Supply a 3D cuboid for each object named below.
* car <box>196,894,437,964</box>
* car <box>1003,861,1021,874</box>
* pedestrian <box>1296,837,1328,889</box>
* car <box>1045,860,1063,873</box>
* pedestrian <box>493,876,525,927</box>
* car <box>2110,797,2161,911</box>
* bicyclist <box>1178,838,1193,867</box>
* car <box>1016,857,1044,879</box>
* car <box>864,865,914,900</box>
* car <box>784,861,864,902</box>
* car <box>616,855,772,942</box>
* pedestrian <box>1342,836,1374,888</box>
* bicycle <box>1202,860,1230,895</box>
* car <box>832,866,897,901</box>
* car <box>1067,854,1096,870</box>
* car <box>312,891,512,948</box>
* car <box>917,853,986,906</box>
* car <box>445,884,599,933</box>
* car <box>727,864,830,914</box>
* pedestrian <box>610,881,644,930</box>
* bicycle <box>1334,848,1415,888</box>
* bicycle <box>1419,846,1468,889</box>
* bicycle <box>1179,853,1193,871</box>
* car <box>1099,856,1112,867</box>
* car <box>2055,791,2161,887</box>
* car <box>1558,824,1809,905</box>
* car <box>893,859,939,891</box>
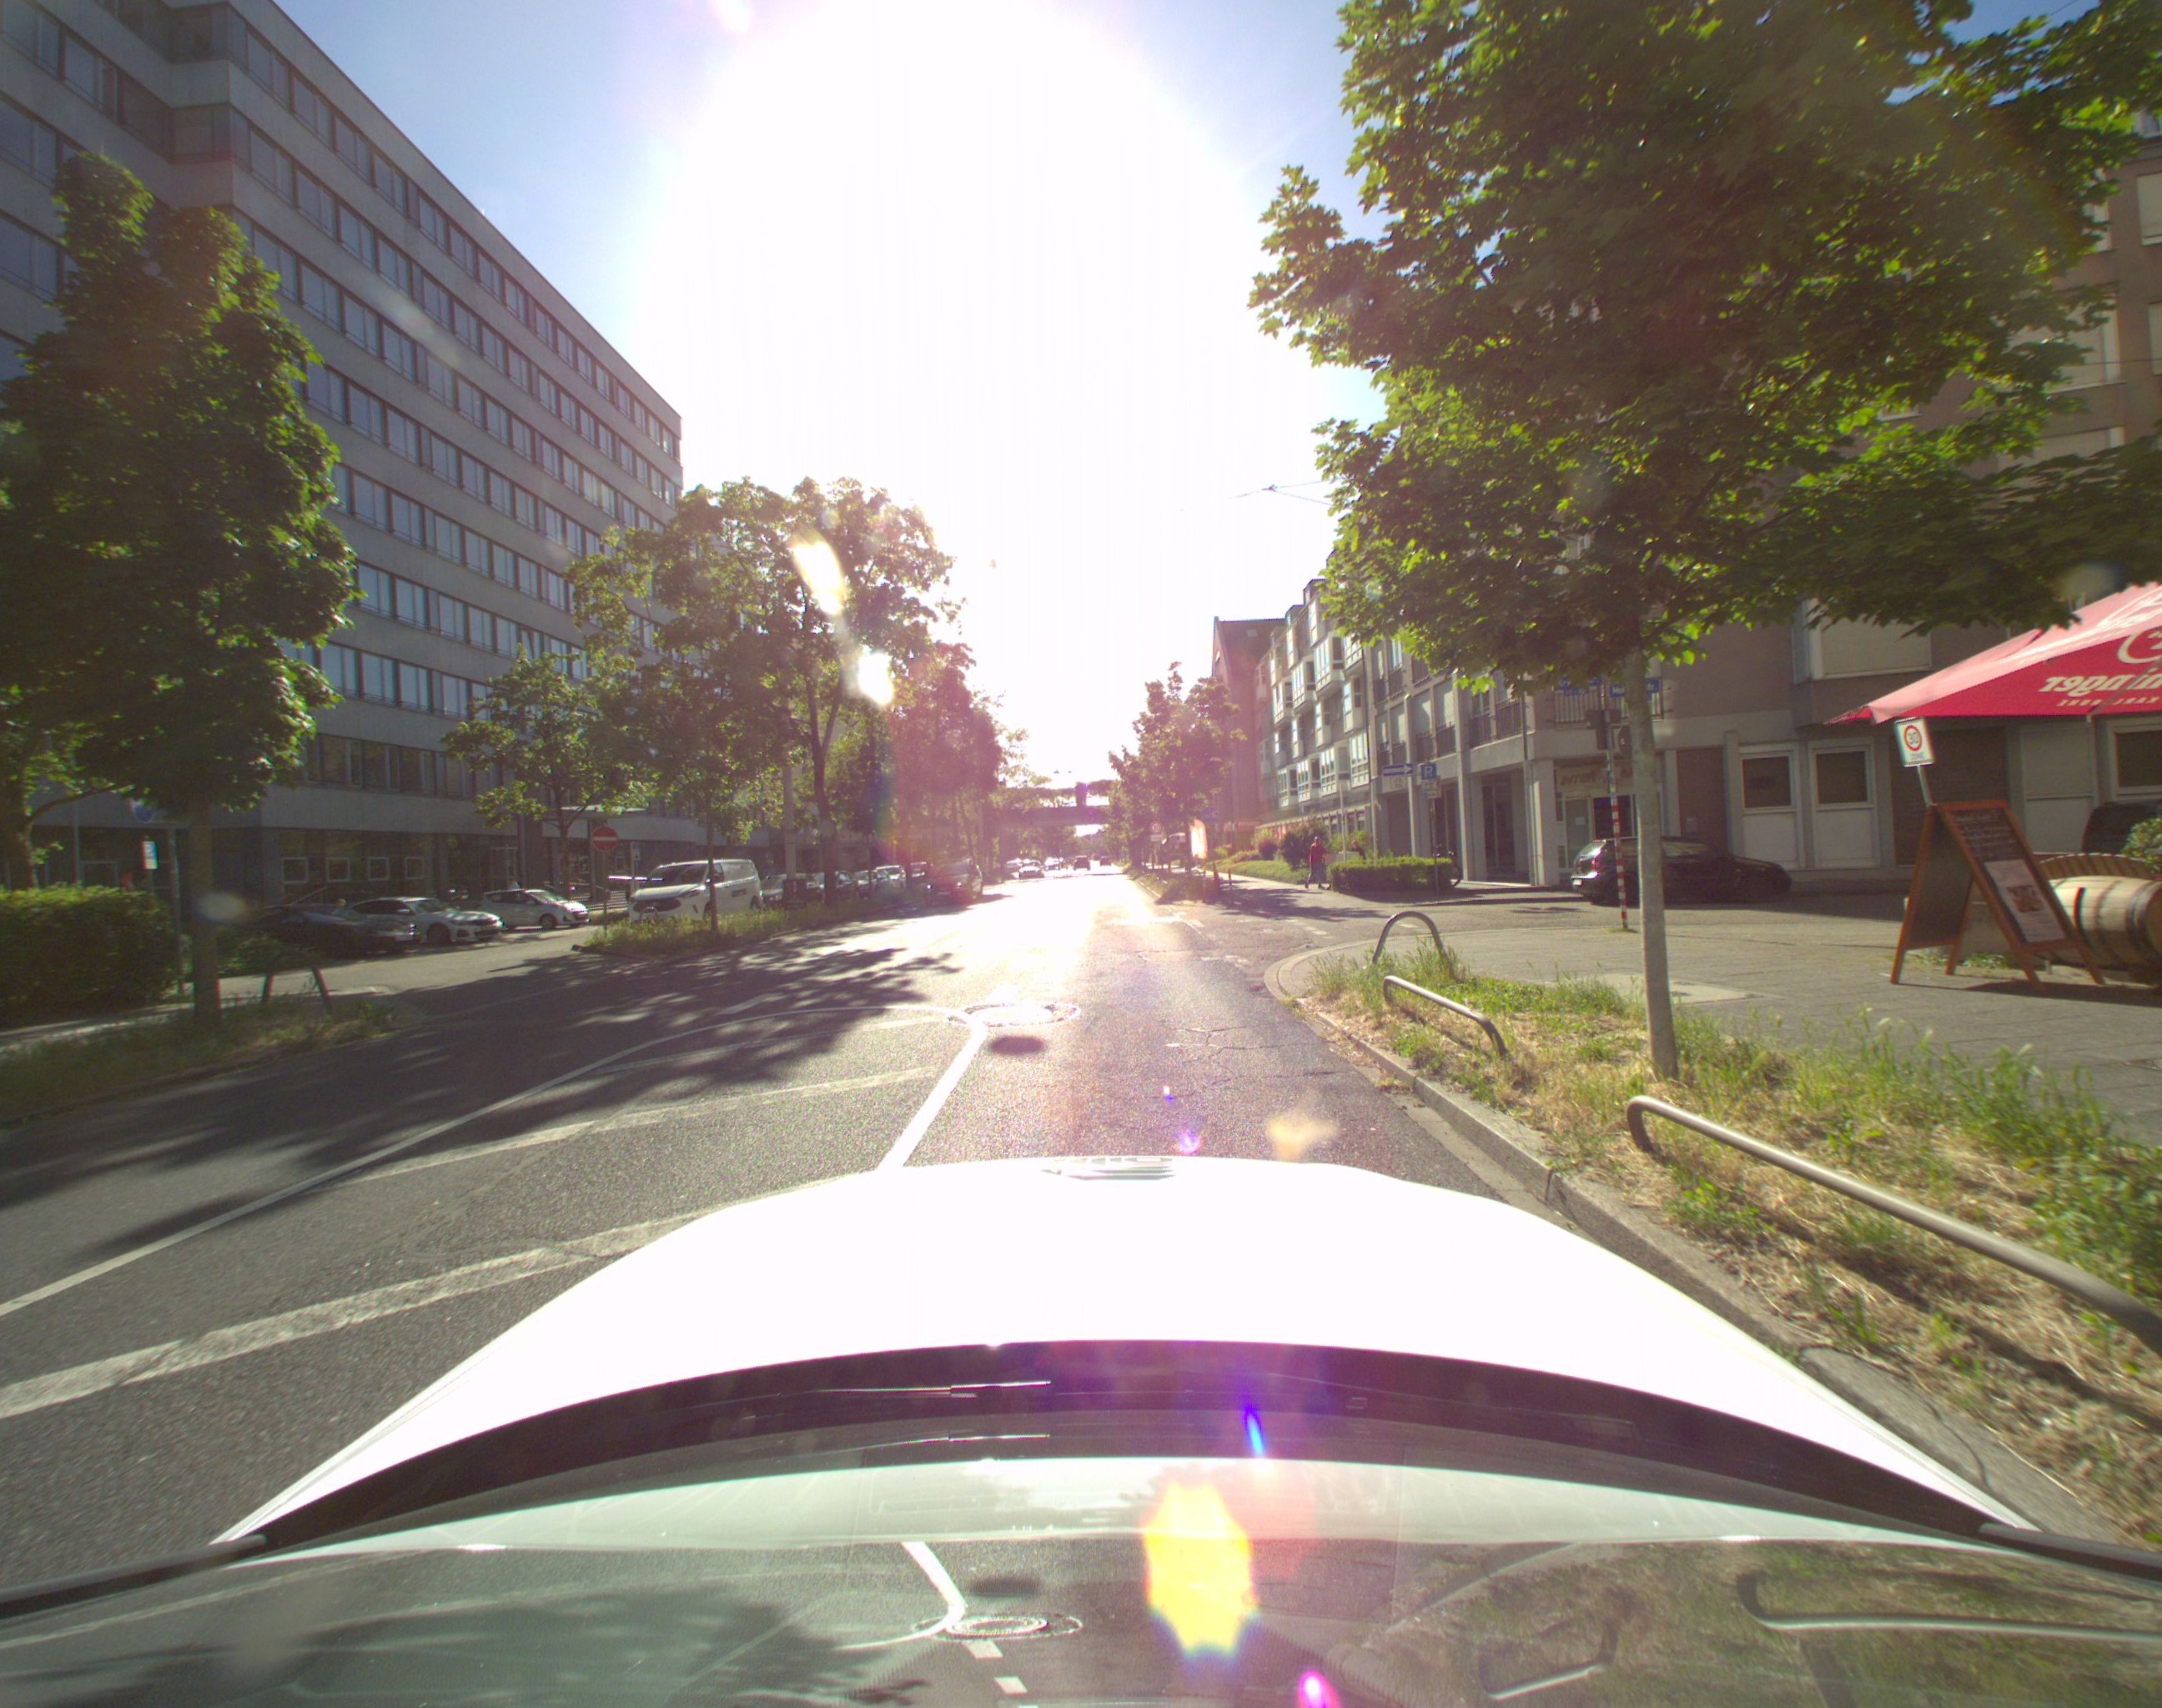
[{"bbox_3d":[-20.052,1.945,21.483,4.647,1.513,2.012,-2,0,5],"label":"car"},{"bbox_3d":[-8.629,1.667,101.729,1.849,1.523,4.077,-2,0,0],"label":"car"},{"bbox_3d":[7.436,0.296,26.227,0.652,1.604,0.602,-6,-1,-5],"label":"pedestrian"},{"bbox_3d":[-3.216,1.465,96.649,1.850,1.439,4.318,-5,0,0],"label":"car"},{"bbox_3d":[-24.214,1.997,34.465,0.768,2.093,0.792,-1,-1,3],"label":"pedestrian"},{"bbox_3d":[16.289,-0.106,10.132,3.913,1.523,1.803,-3,-3,17],"label":"car"},{"bbox_3d":[6.153,-0.073,48.010,0.665,1.695,0.889,-2,-1,0],"label":"bicyclist"},{"bbox_3d":[-4.165,1.131,66.873,1.849,1.568,4.715,-4,0,1],"label":"car"},{"bbox_3d":[-10.439,1.502,44.542,1.852,1.684,4.658,-2,0,-4],"label":"car"},{"bbox_3d":[-10.633,1.107,33.999,1.849,1.523,4.319,-2,0,1],"label":"car"},{"bbox_3d":[-10.962,1.156,23.613,1.975,2.076,5.194,-5,0,-1],"label":"car"},{"bbox_3d":[9.035,0.268,26.540,0.652,1.604,0.602,-6,-1,-5],"label":"pedestrian"},{"bbox_3d":[4.530,0.770,27.148,0.586,1.066,2.032,-3,0,18],"label":"bicycle"},{"bbox_3d":[-10.403,1.385,39.497,1.848,1.523,4.066,-2,0,3],"label":"car"},{"bbox_3d":[0.039,0.868,88.171,1.989,1.600,4.118,-2,0,-16],"label":"car"},{"bbox_3d":[-20.152,1.944,24.647,4.589,1.442,1.941,-2,0,6],"label":"car"},{"bbox_3d":[-5.078,0.960,32.545,1.850,1.825,4.609,-5,0,0],"label":"car"},{"bbox_3d":[-20.516,1.968,30.009,4.293,1.523,1.860,-2,0,-2],"label":"car"},{"bbox_3d":[-10.609,1.183,28.937,1.774,1.523,4.322,-2,0,3],"label":"car"},{"bbox_3d":[-19.260,2.178,34.571,0.832,2.014,1.008,-1,-1,1],"label":"pedestrian"},{"bbox_3d":[8.972,0.429,24.987,2.187,1.027,0.688,-4,2,2],"label":"bicycle"},{"bbox_3d":[10.114,0.365,22.820,0.681,1.027,2.209,-4,2,10],"label":"bicycle"},{"bbox_3d":[6.163,0.471,47.938,0.587,1.027,1.860,-3,-1,0],"label":"bicycle"},{"bbox_3d":[3.655,1.153,120.414,1.848,1.523,4.322,-2,0,3],"label":"car"},{"bbox_3d":[21.180,-0.342,14.943,3.915,1.706,1.802,-2,0,14],"label":"car"},{"bbox_3d":[12.761,0.234,17.542,3.915,1.523,1.869,-2,0,14],"label":"car"},{"bbox_3d":[-10.167,1.258,50.466,1.849,1.850,4.562,-2,0,0],"label":"car"}]
